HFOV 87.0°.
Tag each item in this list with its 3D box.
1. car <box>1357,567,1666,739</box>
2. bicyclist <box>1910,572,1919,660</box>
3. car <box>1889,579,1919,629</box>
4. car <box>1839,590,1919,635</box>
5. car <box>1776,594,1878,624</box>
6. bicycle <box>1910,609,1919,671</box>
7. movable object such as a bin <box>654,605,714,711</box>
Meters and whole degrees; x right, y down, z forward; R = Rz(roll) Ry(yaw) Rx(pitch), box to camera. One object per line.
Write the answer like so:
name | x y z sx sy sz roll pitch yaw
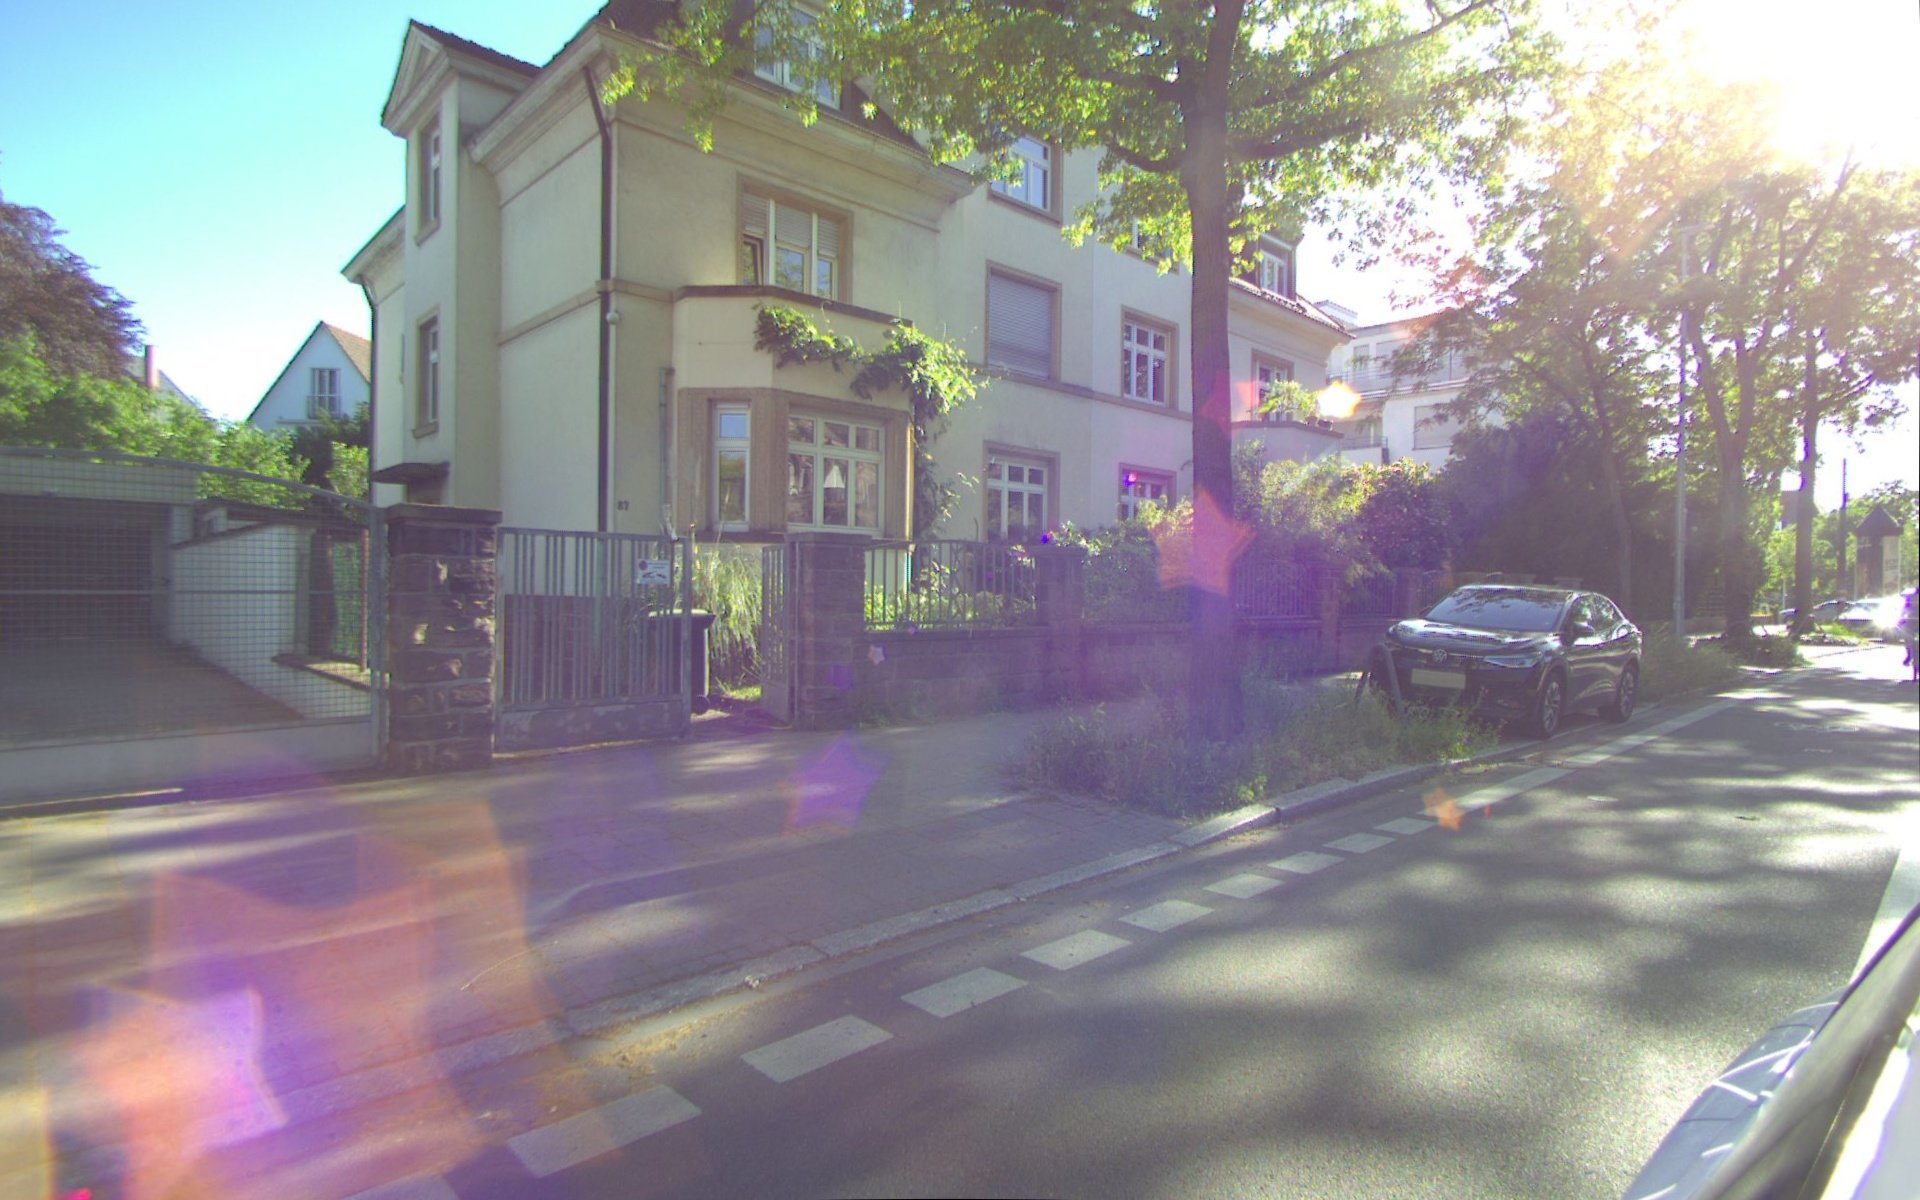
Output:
car | 6.712 0.498 12.138 4.186 1.619 1.917 0 4 -42
bicyclist | 18.439 0.292 19.112 0.654 1.662 0.643 0 0 -41
car | 36.675 0.130 37.856 4.580 1.808 1.903 0 1 -35
car | 31.515 0.383 34.274 4.181 1.427 1.901 0 1 -38
car | 46.071 0.459 53.839 1.784 1.459 3.990 0 1 -44
bicycle | 18.531 0.750 19.182 1.823 1.125 0.588 0 0 -41
movable object such as a bin | -2.920 0.588 10.673 0.551 1.062 0.676 0 0 -20
